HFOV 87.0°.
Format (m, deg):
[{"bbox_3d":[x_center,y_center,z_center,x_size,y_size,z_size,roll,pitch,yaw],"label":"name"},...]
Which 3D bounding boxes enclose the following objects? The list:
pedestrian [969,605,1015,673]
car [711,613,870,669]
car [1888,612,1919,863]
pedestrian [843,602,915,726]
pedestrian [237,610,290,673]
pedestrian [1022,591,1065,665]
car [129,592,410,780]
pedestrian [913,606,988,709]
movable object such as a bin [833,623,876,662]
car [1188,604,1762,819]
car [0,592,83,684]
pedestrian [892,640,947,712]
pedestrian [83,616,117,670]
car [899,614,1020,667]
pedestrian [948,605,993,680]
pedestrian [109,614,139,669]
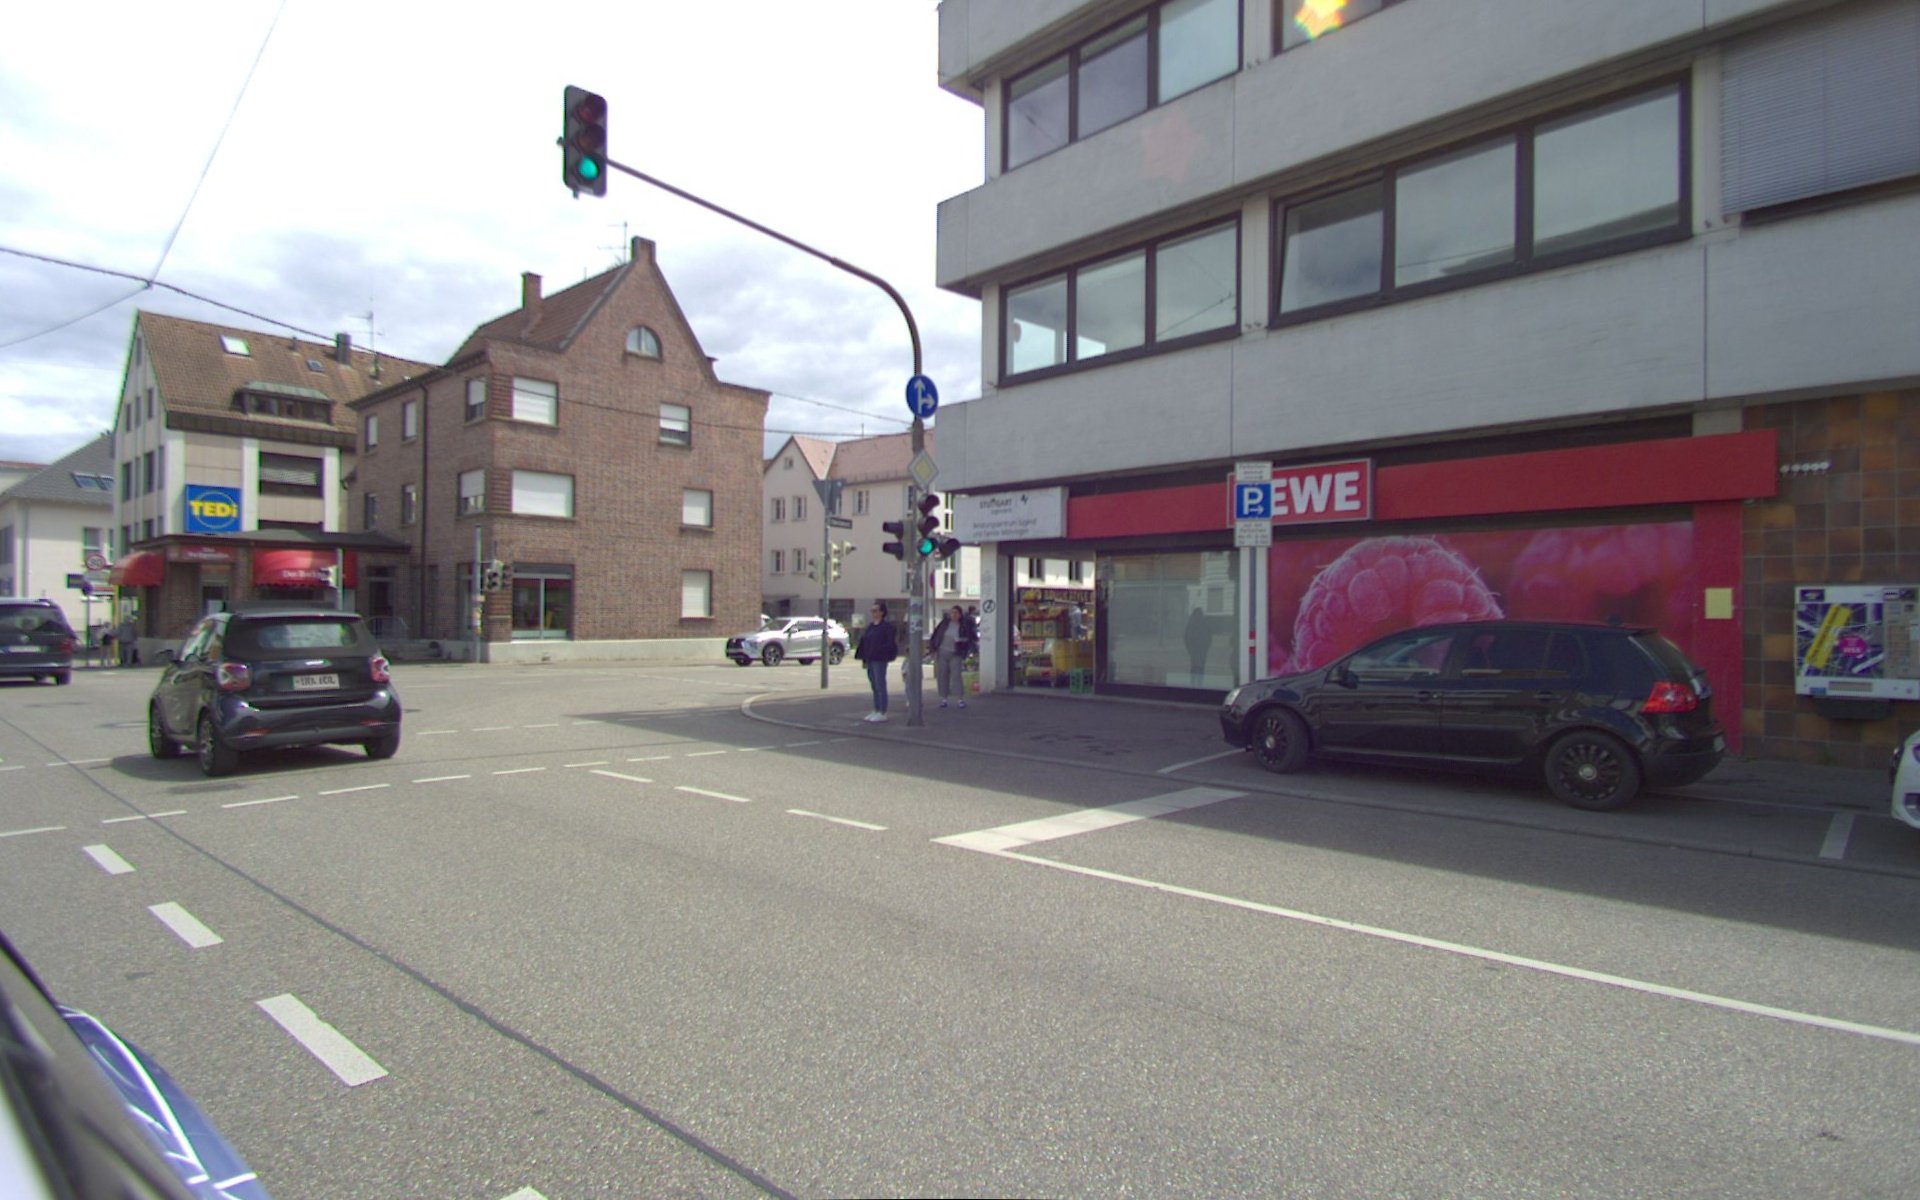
[{"bbox_3d":[0.814,0.979,25.706,0.822,1.663,0.833,-2,-1,44],"label":"pedestrian"},{"bbox_3d":[-5.671,1.391,34.442,2.001,1.782,5.184,-2,-3,44],"label":"car"},{"bbox_3d":[8.009,0.779,5.008,4.954,1.455,2.021,-1,-1,45],"label":"car"},{"bbox_3d":[-1.132,0.869,14.070,0.709,1.657,0.682,0,-1,-44],"label":"pedestrian"},{"bbox_3d":[-19.552,1.171,28.418,0.839,1.736,0.907,0,-2,0],"label":"pedestrian"},{"bbox_3d":[2.014,0.668,24.413,0.815,1.753,0.840,-1,-1,20],"label":"pedestrian"},{"bbox_3d":[-7.157,0.799,10.443,2.831,1.648,1.660,-1,-2,40],"label":"car"},{"bbox_3d":[-0.153,0.894,16.101,0.809,1.566,0.846,0,-1,-43],"label":"pedestrian"},{"bbox_3d":[-4.592,1.826,44.155,1.145,1.637,1.498,-1,0,44],"label":"movable object such as a bin"},{"bbox_3d":[4.496,0.814,9.249,4.285,1.486,2.022,-1,-1,43],"label":"car"},{"bbox_3d":[-21.320,0.811,22.571,4.873,1.891,1.928,-1,-2,40],"label":"car"},{"bbox_3d":[-0.634,1.180,15.870,0.552,1.065,0.663,0,-1,-43],"label":"pedestrian"},{"bbox_3d":[-27.350,1.363,32.183,0.768,1.708,0.796,2,-3,-43],"label":"pedestrian"},{"bbox_3d":[0.038,1.438,35.944,1.999,1.768,4.291,-1,-3,41],"label":"car"},{"bbox_3d":[0.256,1.012,24.291,0.815,1.753,0.840,-1,-1,21],"label":"pedestrian"},{"bbox_3d":[-26.912,1.339,32.580,0.674,1.729,0.878,2,-3,-43],"label":"pedestrian"}]
